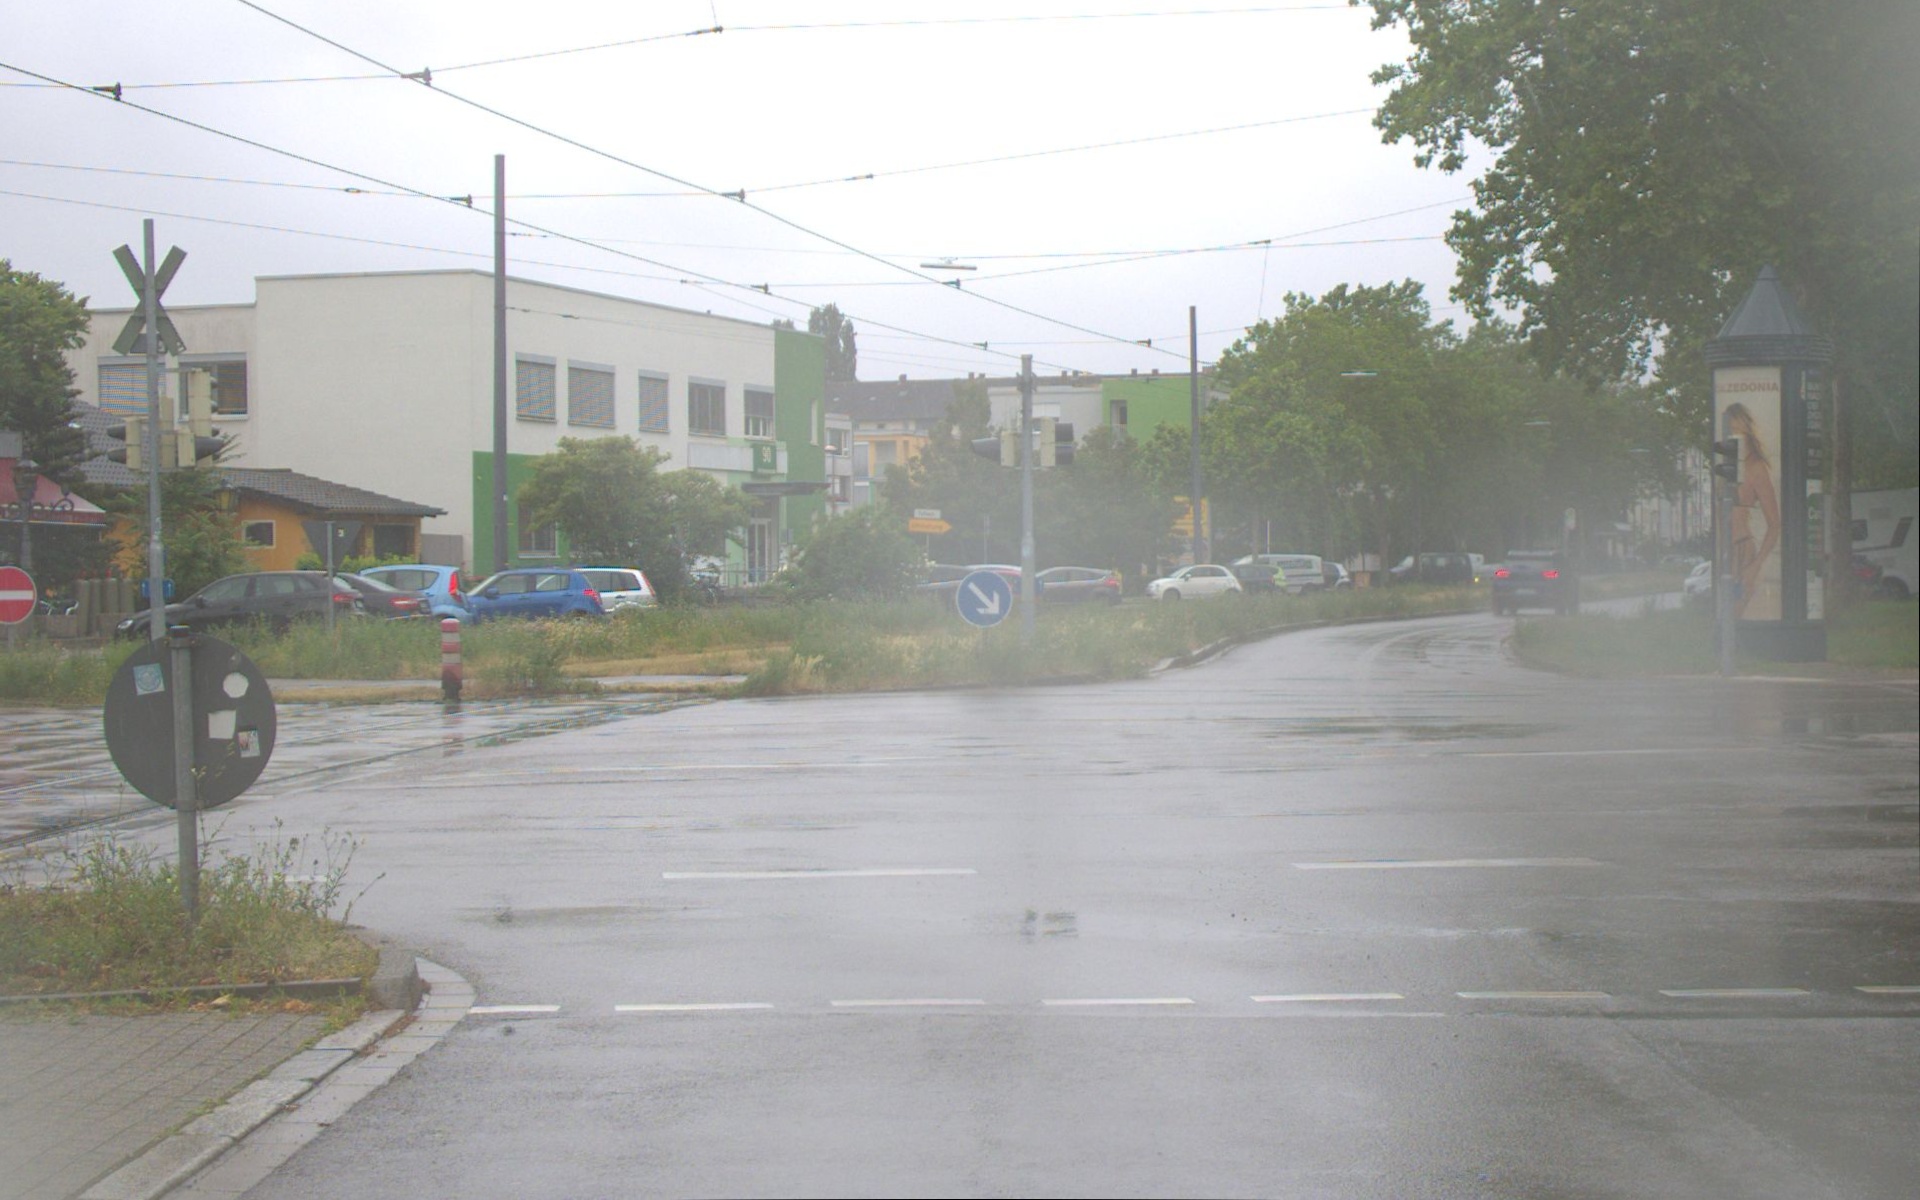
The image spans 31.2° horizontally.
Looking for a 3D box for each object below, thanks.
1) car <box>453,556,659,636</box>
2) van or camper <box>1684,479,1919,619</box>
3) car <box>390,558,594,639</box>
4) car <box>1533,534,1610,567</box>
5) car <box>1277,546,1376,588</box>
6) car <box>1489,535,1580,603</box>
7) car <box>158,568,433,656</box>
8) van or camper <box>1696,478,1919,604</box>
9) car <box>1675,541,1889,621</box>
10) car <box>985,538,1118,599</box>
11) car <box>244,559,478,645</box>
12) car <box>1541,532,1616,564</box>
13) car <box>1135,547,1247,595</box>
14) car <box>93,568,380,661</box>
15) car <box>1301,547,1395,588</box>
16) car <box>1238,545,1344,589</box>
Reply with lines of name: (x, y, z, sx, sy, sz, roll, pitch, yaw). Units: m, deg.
car: (-8.582, -0.091, 72.927, 4.107, 1.635, 1.930, -1, 0, -14)
van or camper: (20.876, -1.181, 80.564, 7.328, 3.167, 3.259, 1, 1, 18)
car: (-9.499, -0.042, 69.703, 3.986, 1.576, 1.930, 0, 0, -11)
car: (35.327, -2.873, 198.684, 3.986, 1.826, 2.000, 1, 0, -5)
car: (16.384, -1.481, 153.847, 3.986, 1.826, 2.001, 1, 0, -11)
car: (14.721, -0.798, 88.005, 1.807, 1.680, 3.908, 1, 1, 17)
car: (-11.826, 0.209, 61.398, 4.497, 1.413, 1.858, -2, 0, 1)
van or camper: (23.245, -1.533, 89.684, 7.434, 3.167, 3.259, 1, 1, 22)
car: (18.552, -0.443, 77.537, 4.449, 1.711, 1.998, 1, 1, 21)
car: (2.917, -1.015, 110.156, 3.986, 1.881, 2.000, 1, 0, -7)
car: (-11.249, 0.031, 64.724, 3.987, 1.576, 1.858, 0, 0, 4)
car: (36.574, -3.070, 203.416, 3.986, 1.826, 2.000, 1, 0, -5)
car: (8.518, -1.082, 126.768, 3.773, 1.697, 1.837, 1, 0, -10)
car: (-12.380, 0.232, 58.990, 4.477, 1.413, 1.858, -2, 0, 1)
car: (17.905, -1.511, 158.917, 3.986, 1.826, 2.000, 1, 0, -5)
car: (13.947, -1.388, 144.883, 3.986, 1.752, 2.011, 1, 0, -11)
